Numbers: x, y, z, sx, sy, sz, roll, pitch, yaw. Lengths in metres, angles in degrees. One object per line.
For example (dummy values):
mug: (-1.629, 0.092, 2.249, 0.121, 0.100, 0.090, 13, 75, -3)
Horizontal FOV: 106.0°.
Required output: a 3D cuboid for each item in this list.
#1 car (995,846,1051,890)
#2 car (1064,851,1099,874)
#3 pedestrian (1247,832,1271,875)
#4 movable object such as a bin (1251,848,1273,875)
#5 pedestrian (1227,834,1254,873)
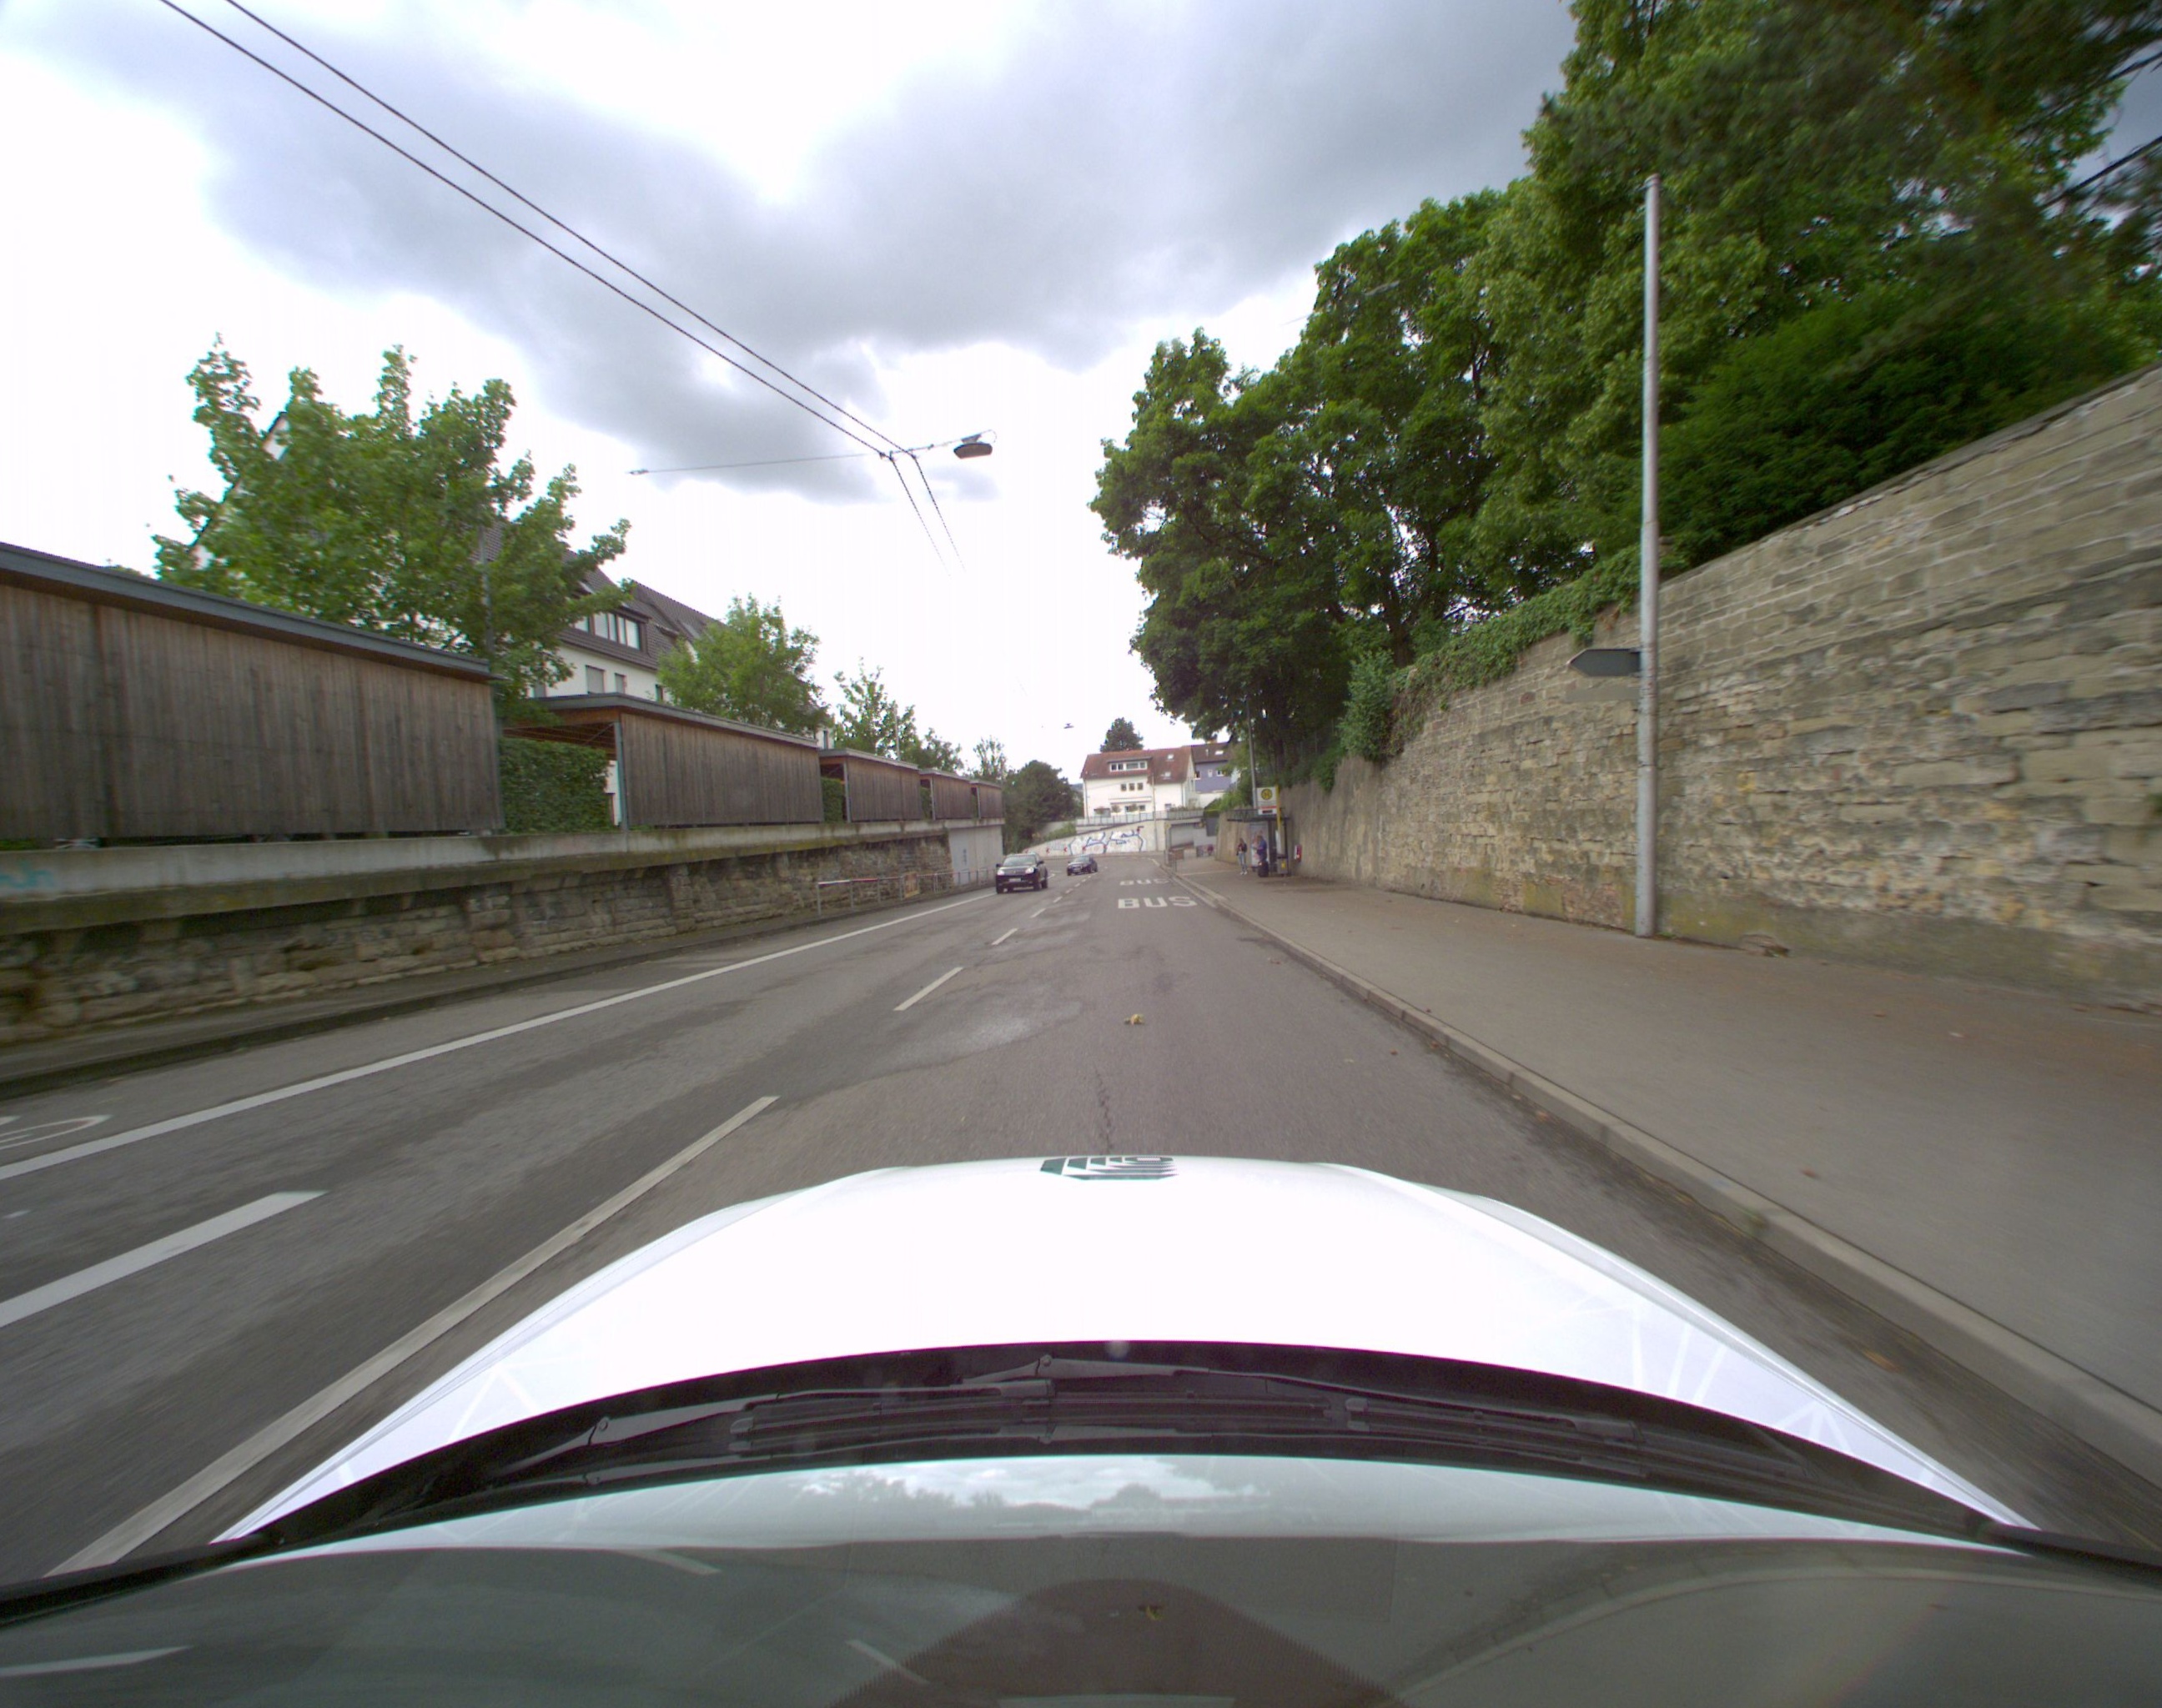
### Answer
car: (-2.557, 0.604, 36.958, 1.886, 1.756, 4.440, -4, 0, 3)
car: (0.040, 0.579, 60.775, 1.723, 1.532, 4.013, -4, 0, 12)
pedestrian: (7.174, -0.025, 32.755, 0.719, 1.642, 0.630, -4, 0, -2)
movable object such as a bin: (7.121, 0.297, 32.058, 0.672, 1.020, 0.626, -4, 1, -2)
pedestrian: (6.868, -0.031, 35.112, 0.728, 1.587, 0.778, -4, 1, 44)
